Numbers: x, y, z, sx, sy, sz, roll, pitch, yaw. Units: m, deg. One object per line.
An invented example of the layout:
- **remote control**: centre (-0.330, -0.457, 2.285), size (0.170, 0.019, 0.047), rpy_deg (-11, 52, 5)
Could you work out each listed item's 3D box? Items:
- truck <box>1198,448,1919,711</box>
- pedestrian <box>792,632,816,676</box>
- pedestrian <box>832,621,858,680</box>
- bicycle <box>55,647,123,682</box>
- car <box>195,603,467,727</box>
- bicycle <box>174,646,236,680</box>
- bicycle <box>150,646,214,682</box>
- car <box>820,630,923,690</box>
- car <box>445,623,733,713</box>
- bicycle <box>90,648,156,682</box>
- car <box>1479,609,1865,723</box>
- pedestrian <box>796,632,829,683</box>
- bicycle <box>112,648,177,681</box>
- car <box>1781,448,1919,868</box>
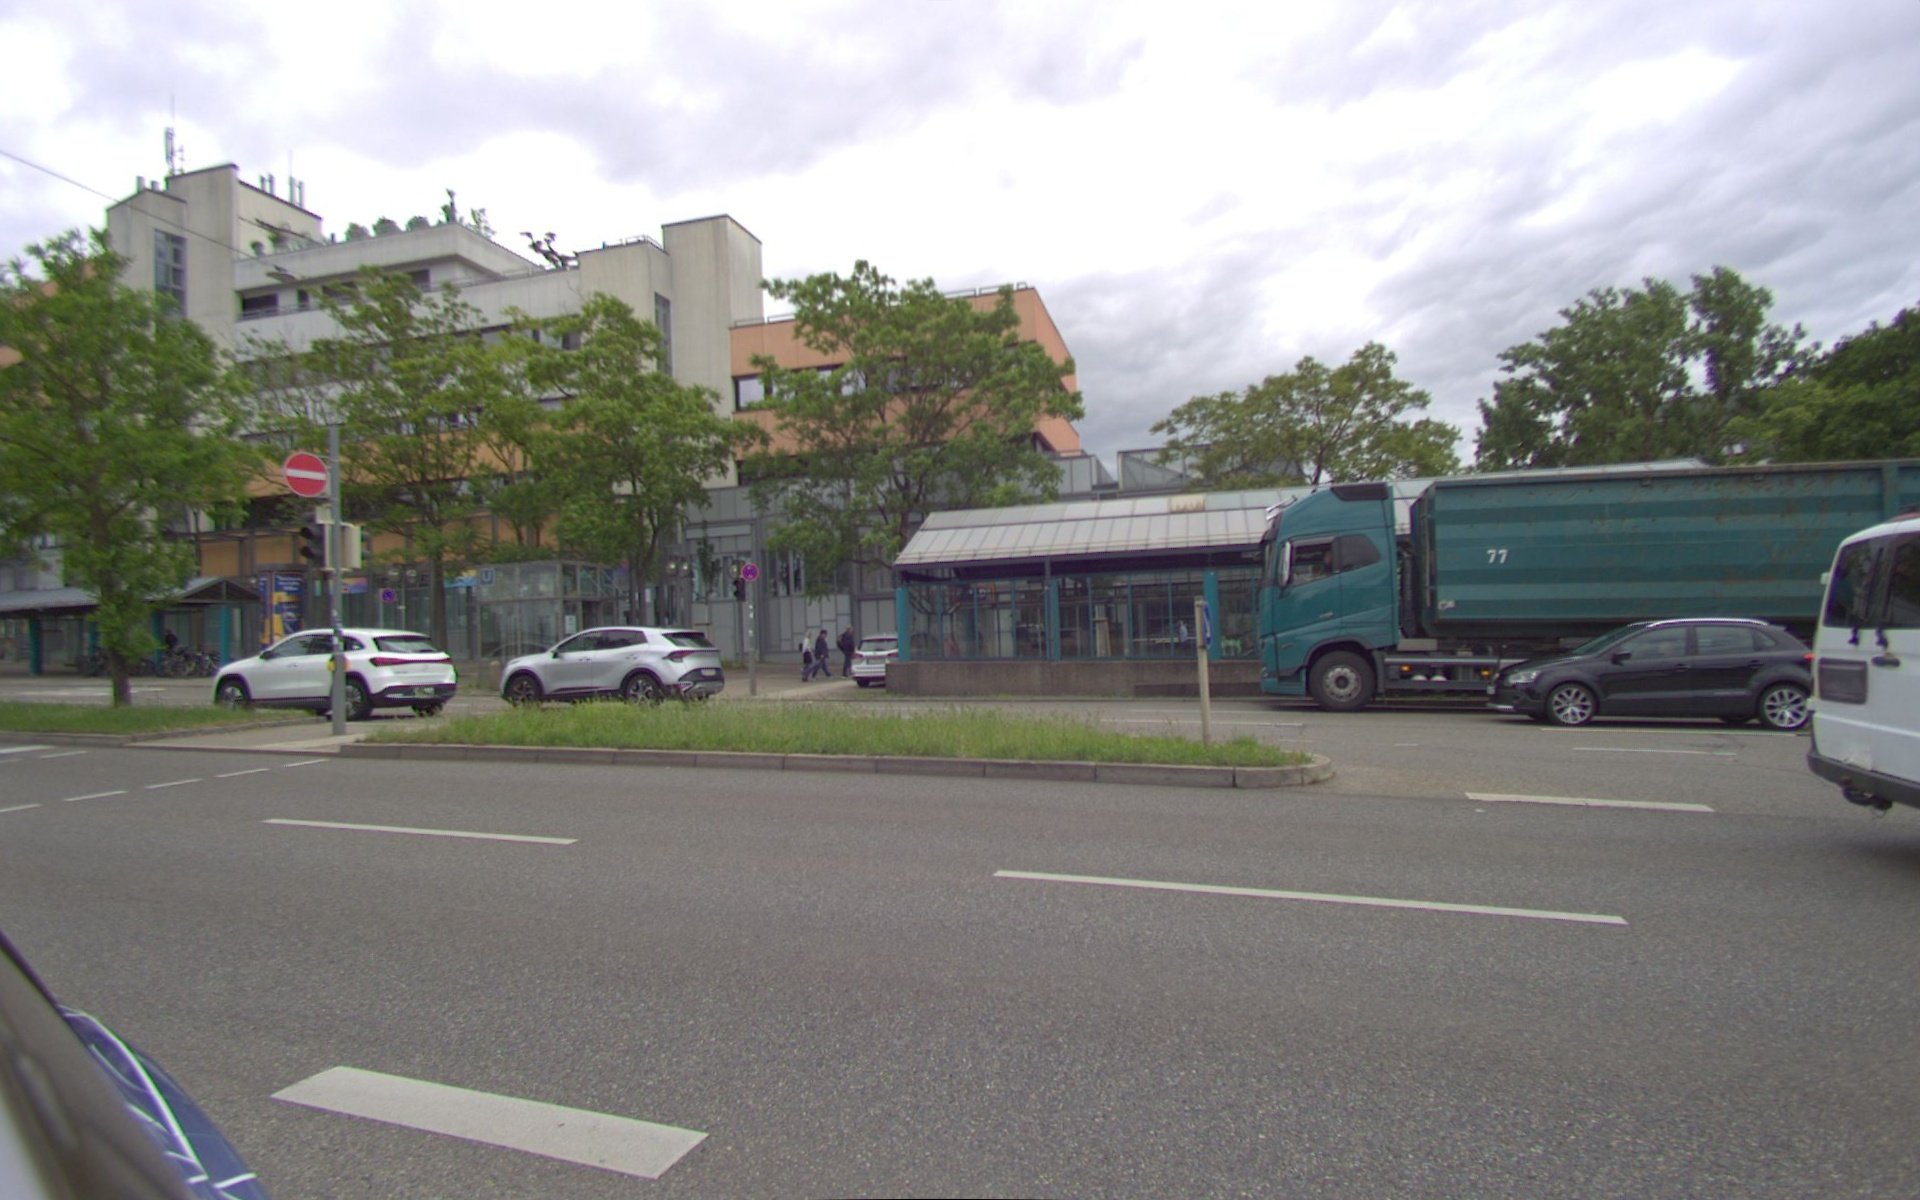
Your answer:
- **truck**: centre (9.997, -0.190, 17.499), size (11.187, 3.755, 3.359), rpy_deg (-1, -1, 18)
- **pedestrian**: centre (-5.221, 1.795, 33.848), size (0.538, 1.407, 0.595), rpy_deg (0, -1, 41)
- **pedestrian**: centre (-3.607, 1.578, 31.736), size (0.538, 1.820, 0.595), rpy_deg (0, -1, 41)
- **bicycle**: centre (-33.824, 2.491, 39.330), size (0.703, 1.162, 2.069), rpy_deg (-1, 1, 5)
- **car**: centre (-11.314, 1.152, 18.280), size (4.145, 2.029, 1.988), rpy_deg (-2, -2, 18)
- **bicycle**: centre (-28.426, 2.353, 38.152), size (0.703, 1.162, 2.068), rpy_deg (-1, -1, 5)
- **bicycle**: centre (-29.416, 2.417, 38.313), size (0.703, 1.162, 2.069), rpy_deg (-1, 2, 5)
- **car**: centre (-2.331, 1.586, 27.705), size (1.976, 1.364, 3.991), rpy_deg (-3, -1, 7)
- **car**: centre (-7.163, 1.307, 19.602), size (5.221, 1.597, 1.762), rpy_deg (-1, -3, 16)
- **bicycle**: centre (-31.835, 2.461, 38.529), size (0.703, 1.162, 2.068), rpy_deg (-1, 0, 5)
- **car**: centre (9.664, 0.914, 14.144), size (3.965, 1.428, 1.793), rpy_deg (-2, -3, 17)
- **pedestrian**: centre (-4.378, 1.696, 30.100), size (0.855, 1.469, 0.605), rpy_deg (1, -1, -20)
- **bicycle**: centre (-30.967, 2.444, 38.458), size (0.703, 1.162, 2.068), rpy_deg (-1, -2, 5)
- **car**: centre (7.185, 0.258, 4.536), size (5.039, 2.029, 1.867), rpy_deg (-1, -1, 21)
